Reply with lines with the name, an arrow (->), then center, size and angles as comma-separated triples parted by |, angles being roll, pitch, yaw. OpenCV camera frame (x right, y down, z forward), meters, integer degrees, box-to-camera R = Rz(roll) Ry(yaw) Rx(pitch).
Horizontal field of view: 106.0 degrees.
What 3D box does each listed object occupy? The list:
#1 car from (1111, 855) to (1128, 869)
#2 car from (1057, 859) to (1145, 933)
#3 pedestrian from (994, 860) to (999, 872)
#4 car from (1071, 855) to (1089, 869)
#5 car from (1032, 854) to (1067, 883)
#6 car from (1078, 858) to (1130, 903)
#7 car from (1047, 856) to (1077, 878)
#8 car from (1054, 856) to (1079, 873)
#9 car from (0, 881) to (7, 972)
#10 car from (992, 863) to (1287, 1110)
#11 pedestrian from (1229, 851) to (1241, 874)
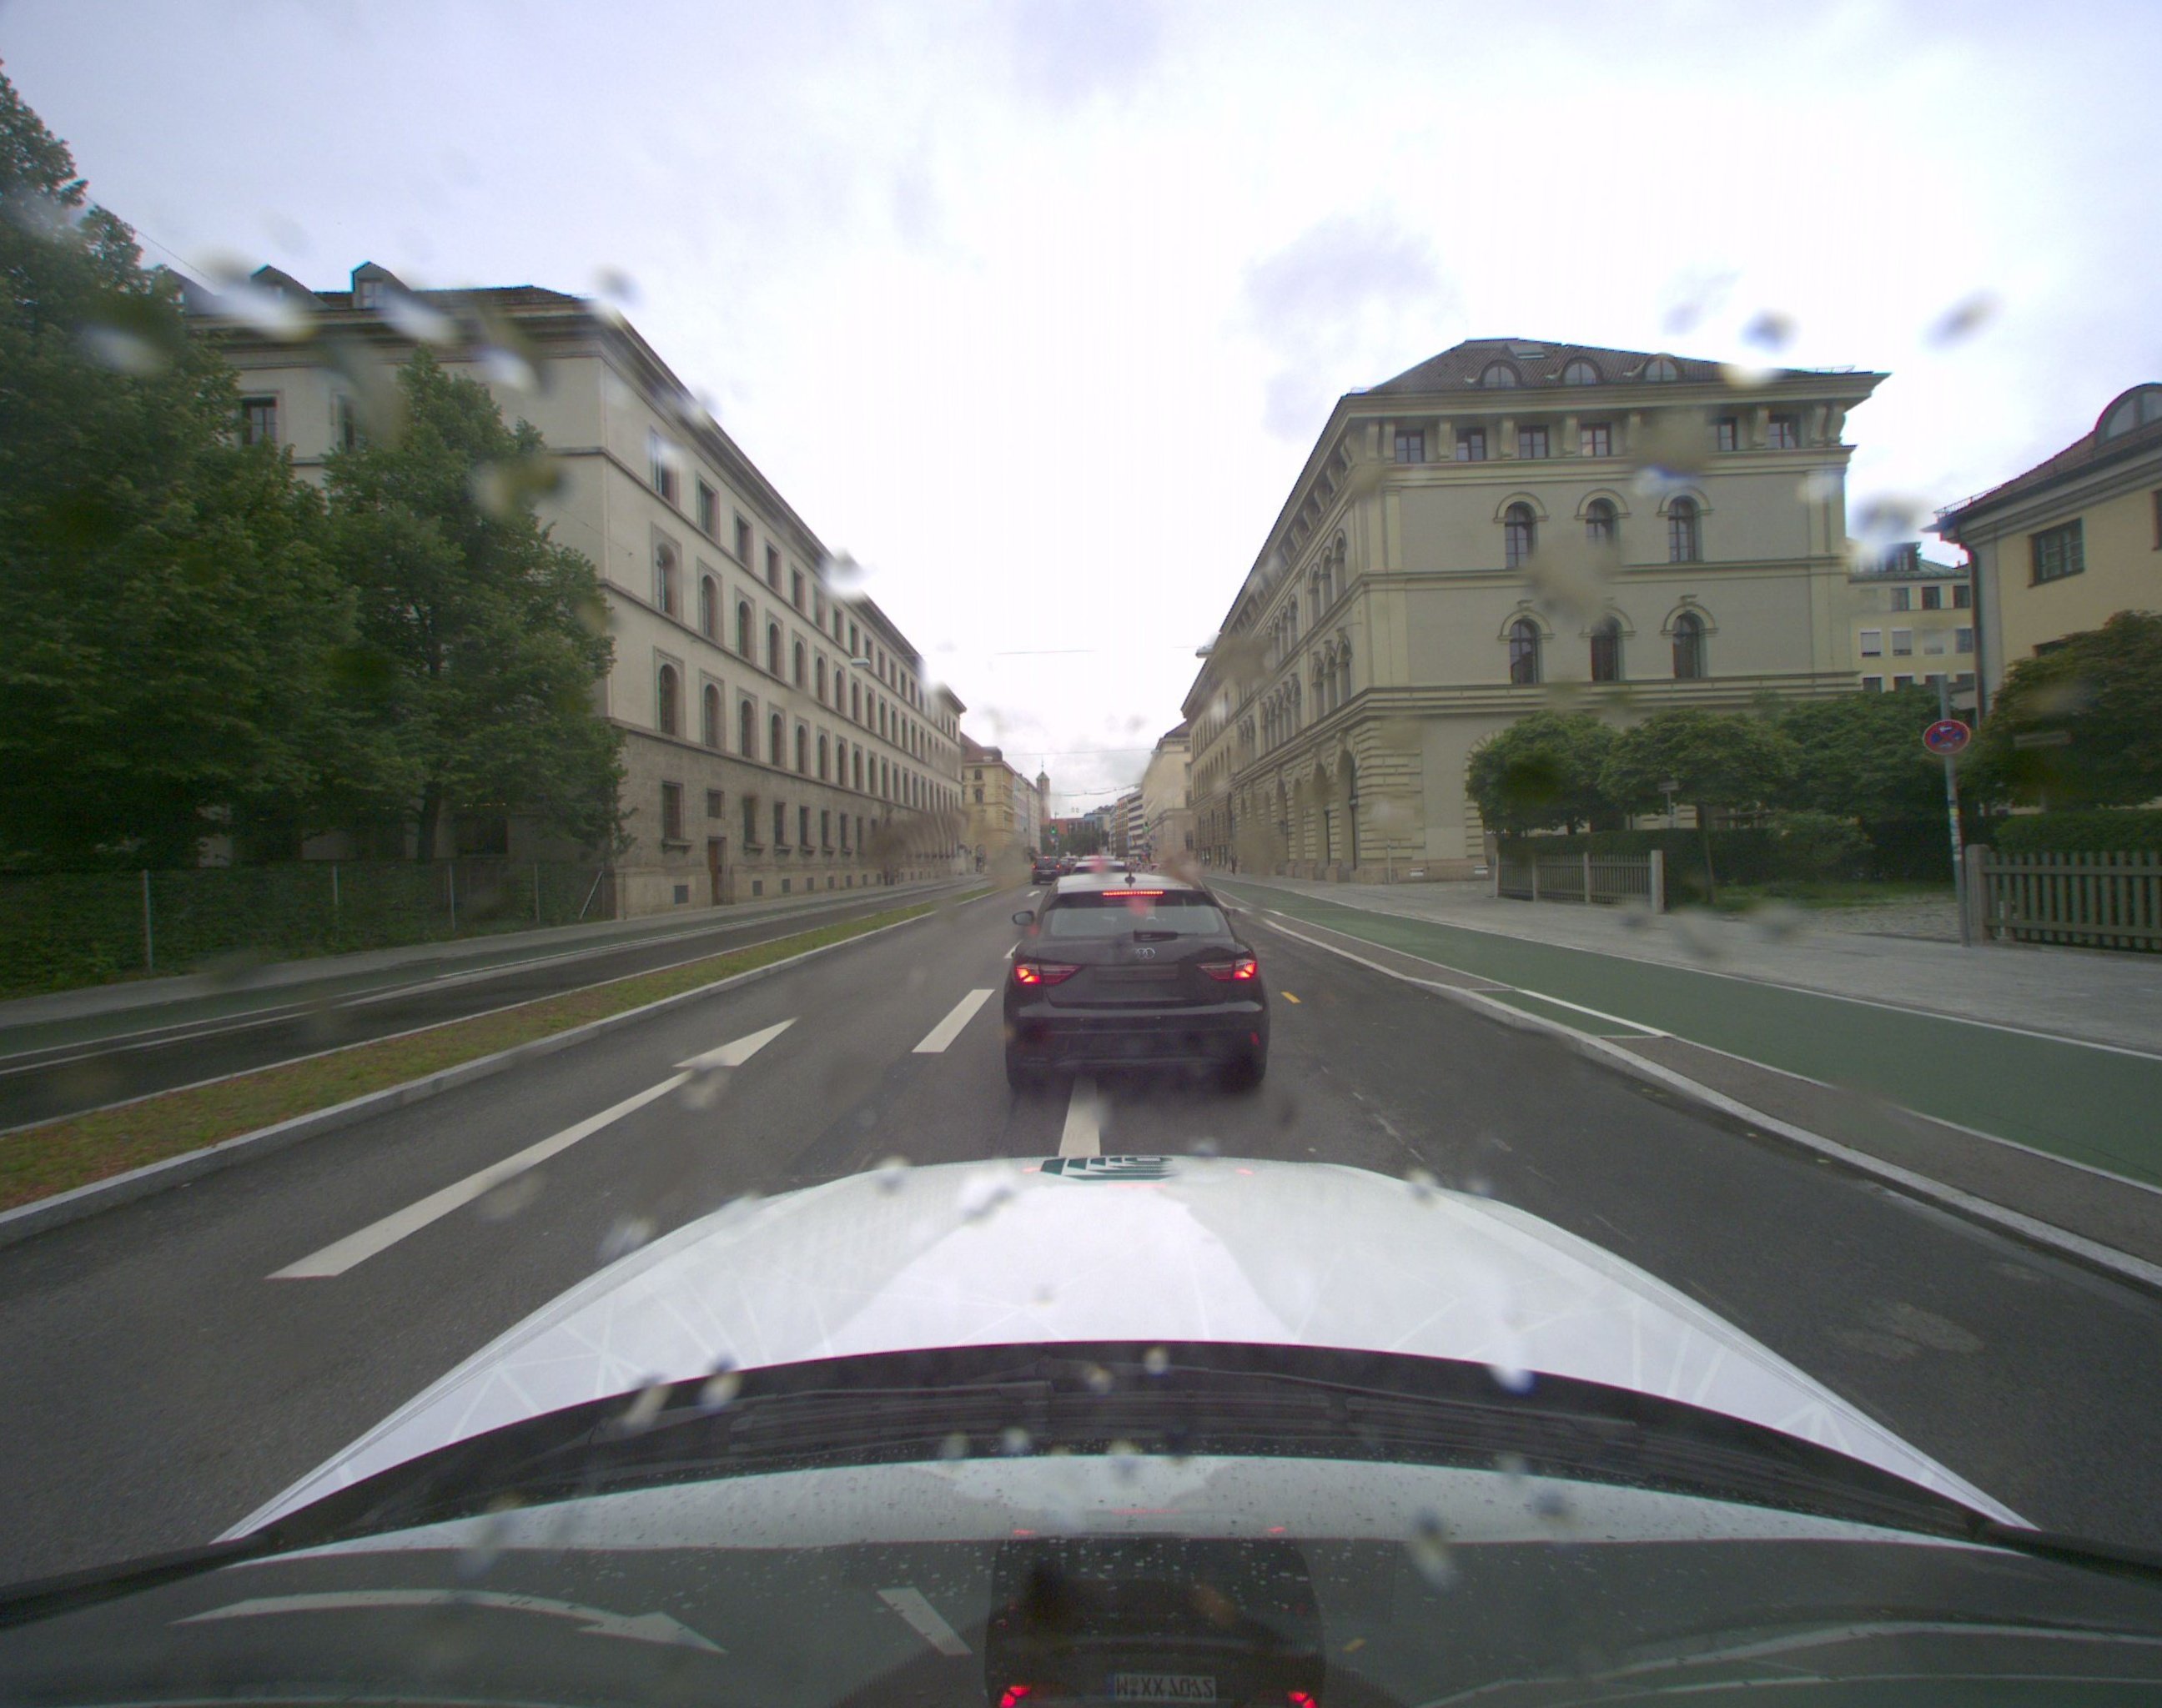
car -> 4.671, 0.931, 99.091 | 1.942, 1.662, 4.001 | 0, -1, 2
car -> 0.447, 0.838, 17.944 | 1.724, 1.403, 4.001 | 0, 0, 1
pedestrian -> -12.949, 1.872, 124.499 | 0.653, 1.805, 0.727 | -2, -1, 1
car -> -0.089, 0.918, 95.369 | 1.986, 1.444, 4.002 | -2, 0, 2
car -> -1.833, 0.840, 48.289 | 1.758, 1.616, 4.031 | -1, 0, 1
car -> 0.810, 0.884, 28.982 | 1.724, 1.461, 4.001 | 0, 0, 1
car -> -1.427, 0.972, 62.611 | 1.986, 1.627, 4.002 | -2, 0, 2
car -> -1.251, 0.896, 72.947 | 1.986, 1.444, 4.002 | -2, 0, 2
car -> -21.898, 1.405, 14.082 | 4.247, 1.649, 1.805 | -2, 0, 1
car -> 0.398, 0.804, 6.800 | 1.724, 1.403, 4.001 | 0, 0, 1
pedestrian -> 11.039, 0.574, 58.440 | 0.707, 1.618, 0.754 | -2, -1, 1
